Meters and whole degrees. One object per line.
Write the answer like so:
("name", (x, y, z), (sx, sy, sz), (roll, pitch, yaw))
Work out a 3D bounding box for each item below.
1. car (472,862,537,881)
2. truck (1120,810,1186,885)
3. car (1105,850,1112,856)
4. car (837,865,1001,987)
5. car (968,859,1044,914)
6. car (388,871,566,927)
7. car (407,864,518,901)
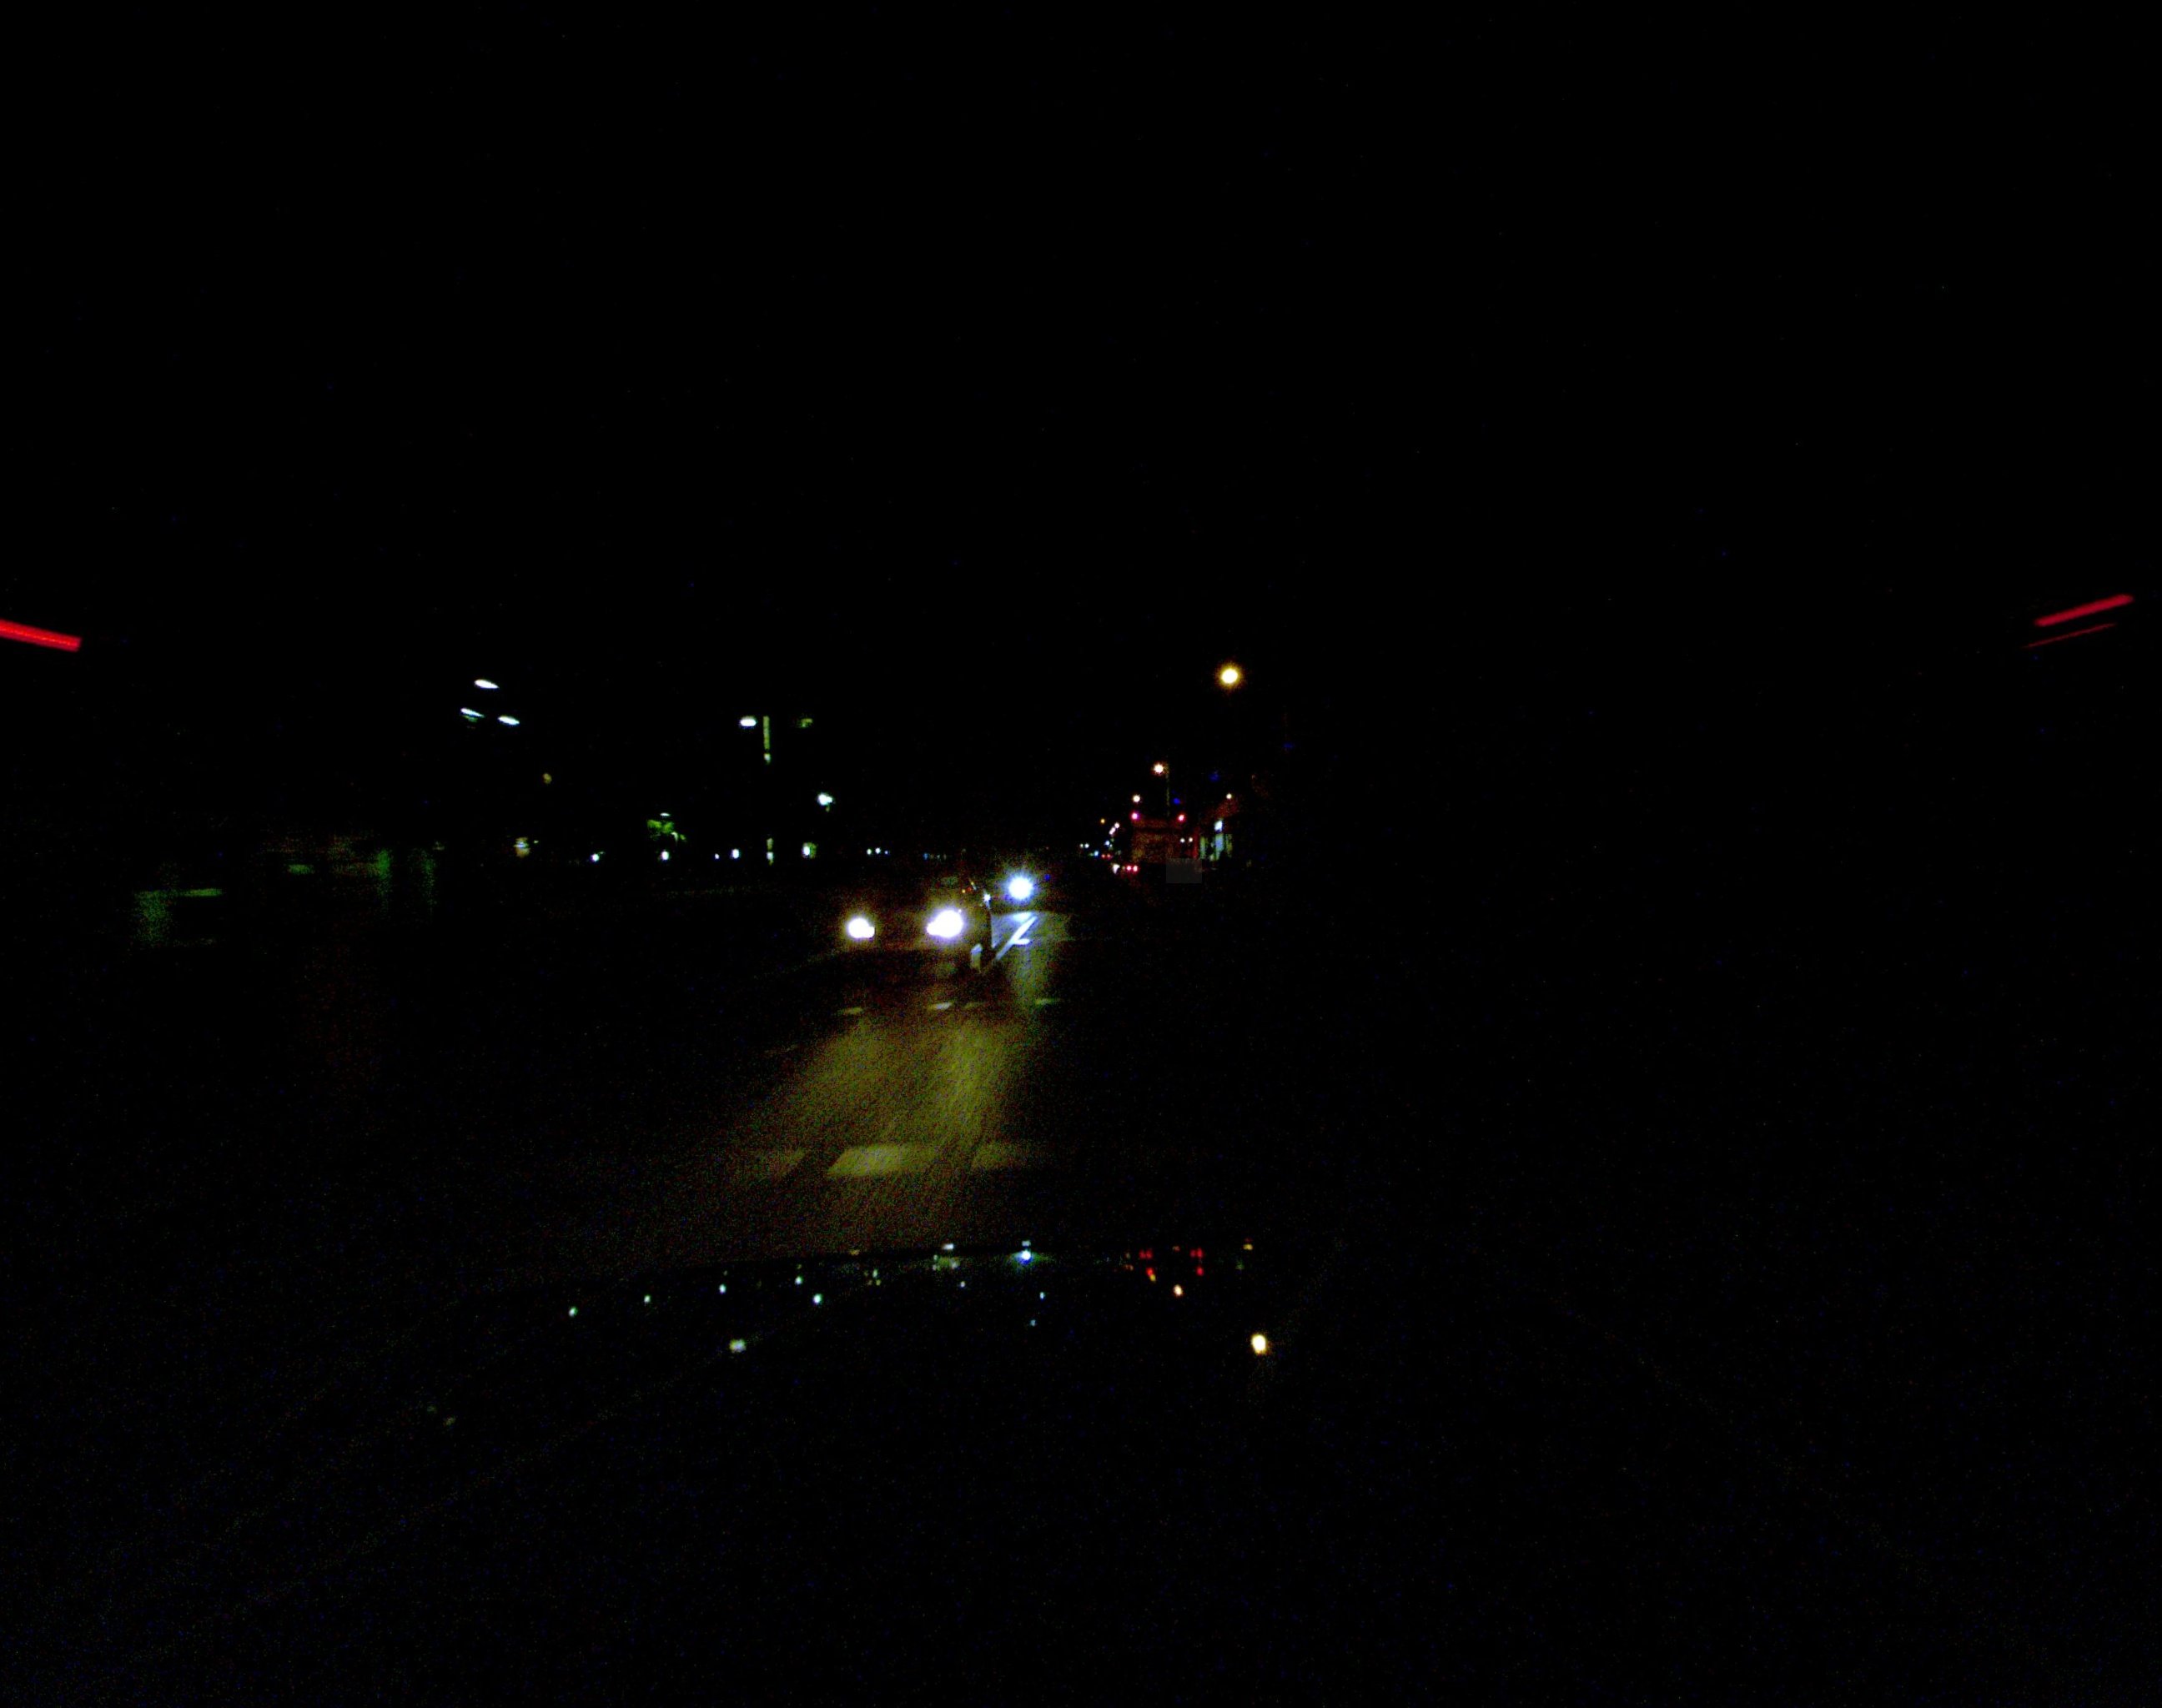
("car", (-47.596, 1.426, 62.856), (1.998, 1.499, 4.301), (-1, 0, 1))
("truck", (3.888, -0.337, 43.295), (2.762, 3.696, 10.112), (2, 0, 1))
("car", (6.883, -0.356, 188.446), (1.671, 1.420, 3.999), (0, 1, 0))
("car", (-2.384, 0.996, 12.205), (1.641, 1.486, 4.000), (-3, 0, 1))
("car", (-2.357, 0.991, 25.075), (1.809, 1.485, 4.729), (-3, 0, 2))
("car", (-18.095, 1.289, 23.070), (1.516, 1.387, 4.483), (0, 1, 5))
("car", (-29.001, 1.287, 35.803), (1.772, 1.524, 4.098), (-1, 0, 1))
